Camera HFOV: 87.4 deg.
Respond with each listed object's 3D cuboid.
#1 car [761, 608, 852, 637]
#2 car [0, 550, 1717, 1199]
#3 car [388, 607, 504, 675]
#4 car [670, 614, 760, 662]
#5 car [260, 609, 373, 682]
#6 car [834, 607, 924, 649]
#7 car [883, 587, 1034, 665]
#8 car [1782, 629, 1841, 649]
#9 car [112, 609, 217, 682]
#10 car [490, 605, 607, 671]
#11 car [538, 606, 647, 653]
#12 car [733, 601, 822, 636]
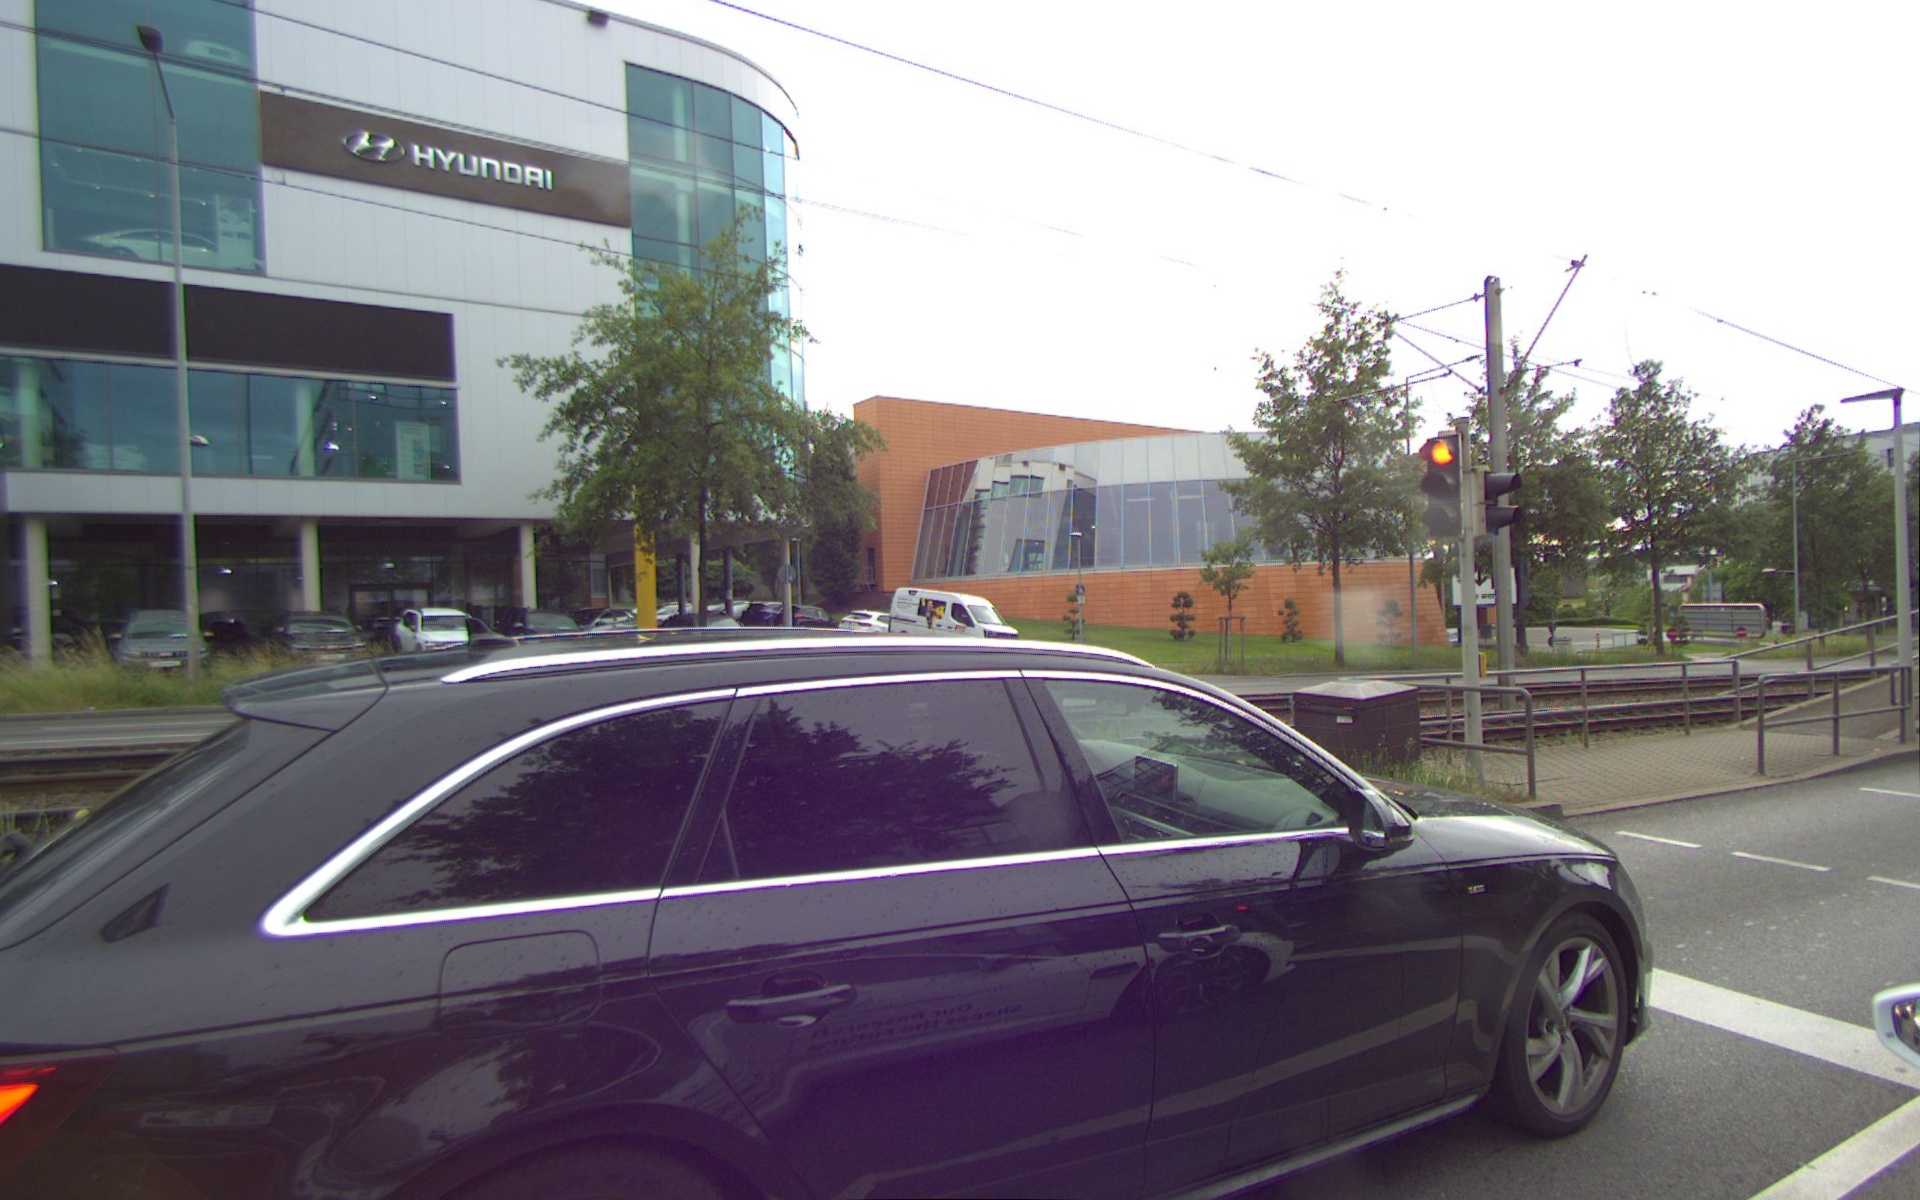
[{"bbox_3d":[-7.222,1.053,47.510,1.969,1.297,3.982,0,-1,39],"label":"car"},{"bbox_3d":[0.100,0.718,2.888,4.461,1.486,1.772,1,-1,-31],"label":"car"},{"bbox_3d":[-14.508,1.077,28.246,1.984,1.571,4.324,1,1,-40],"label":"car"},{"bbox_3d":[-7.811,1.145,31.834,1.565,1.409,3.619,0,-1,-36],"label":"car"},{"bbox_3d":[-16.966,1.111,26.391,1.984,1.571,4.324,1,1,-40],"label":"car"},{"bbox_3d":[-3.349,1.149,42.160,1.703,1.688,3.734,1,-1,38],"label":"car"},{"bbox_3d":[-0.129,0.900,38.110,5.544,2.616,2.392,3,1,43],"label":"car"},{"bbox_3d":[66.418,3.030,78.404,1.408,1.405,3.371,0,0,-13],"label":"car"},{"bbox_3d":[-19.875,1.068,25.064,1.917,1.479,3.974,1,1,-40],"label":"car"},{"bbox_3d":[-12.291,1.078,29.863,1.984,1.637,4.324,1,1,-40],"label":"car"},{"bbox_3d":[-12.842,1.011,35.340,1.691,1.572,3.587,0,-1,20],"label":"car"},{"bbox_3d":[-8.878,0.900,49.079,1.969,1.653,3.982,0,-1,39],"label":"car"}]
